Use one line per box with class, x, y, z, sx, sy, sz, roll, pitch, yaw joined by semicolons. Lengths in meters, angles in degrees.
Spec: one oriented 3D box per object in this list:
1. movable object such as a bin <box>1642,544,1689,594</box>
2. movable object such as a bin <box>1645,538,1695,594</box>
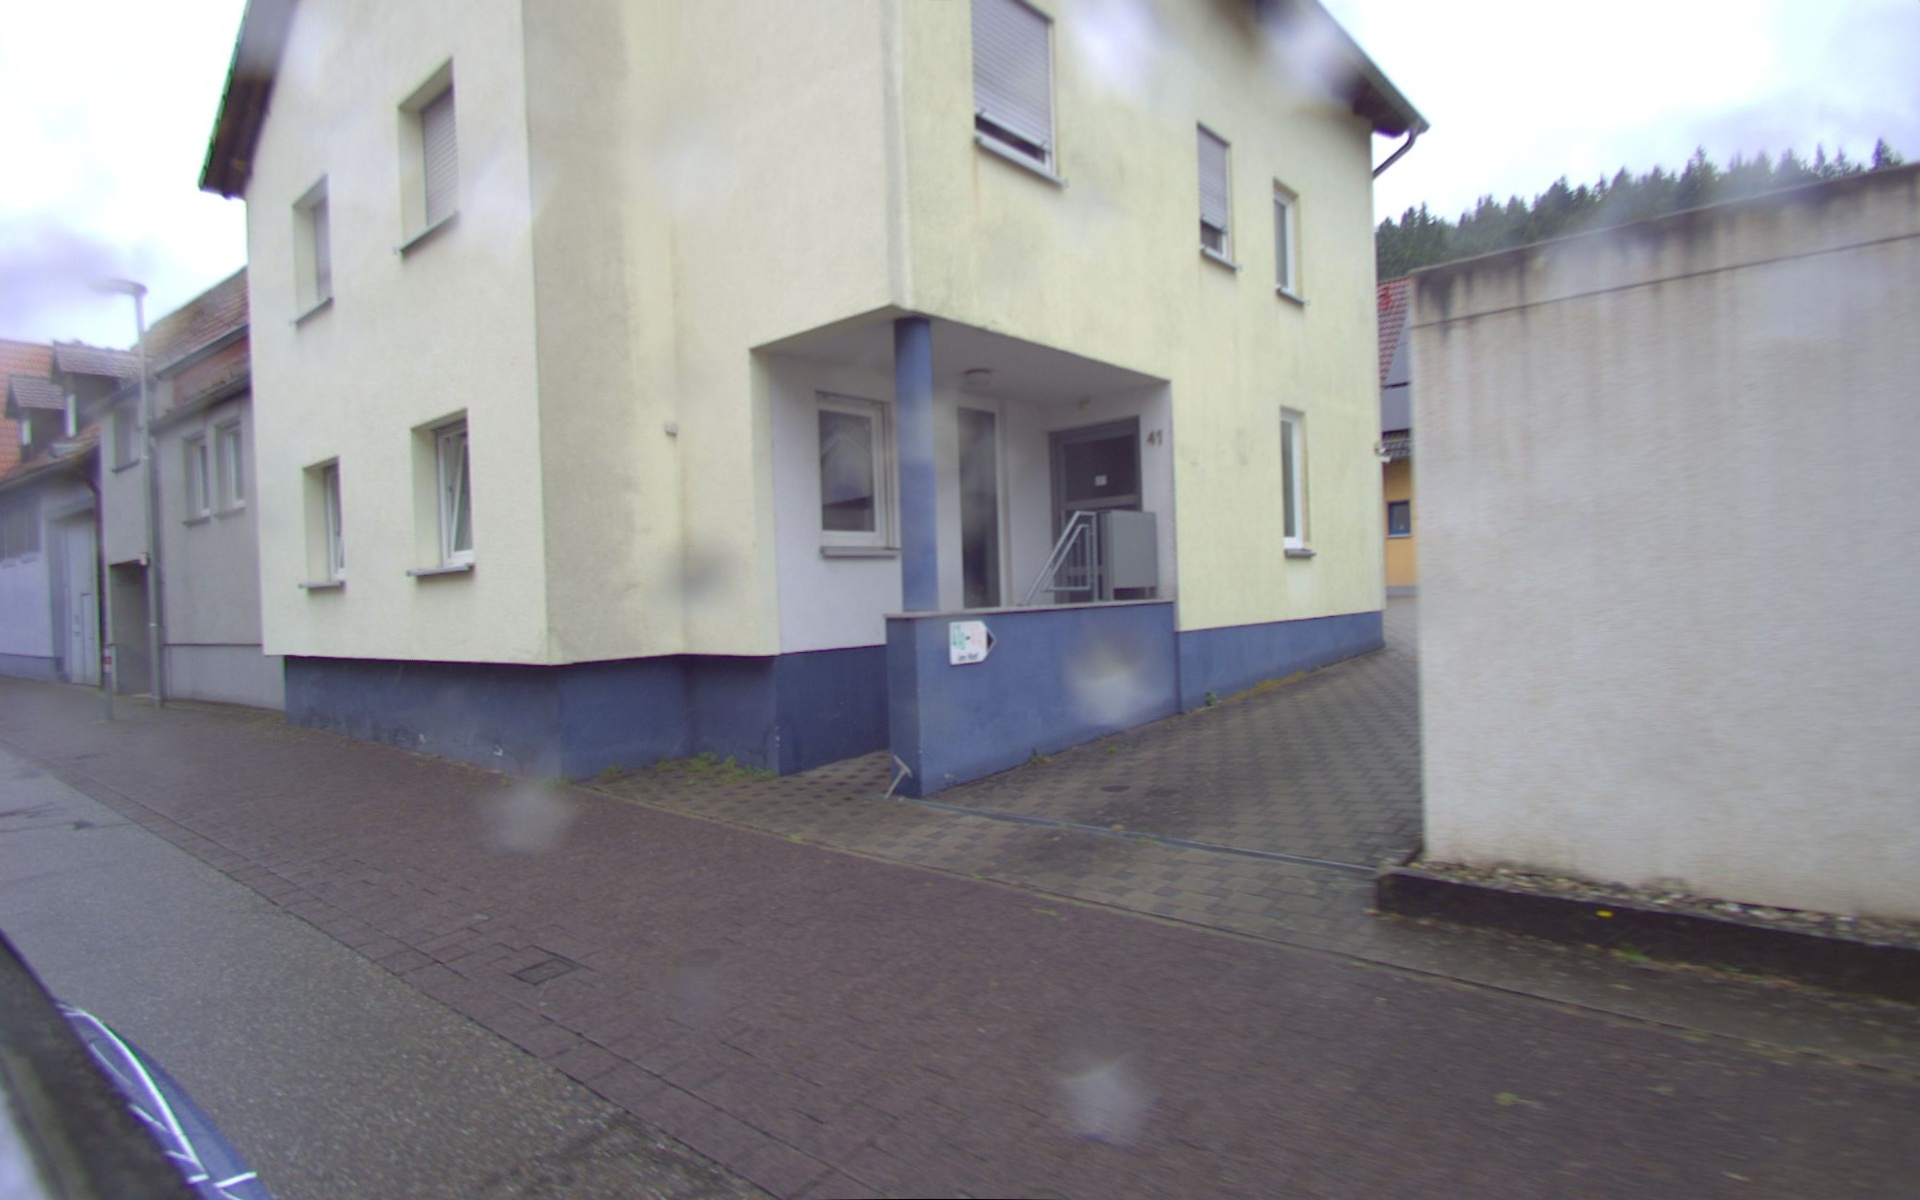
movable object such as a bin;13.828;-0.607;19.832;0.689;0.939;0.605;-2;-1;41
movable object such as a bin;14.375;-0.678;20.495;0.756;1.081;0.604;-2;-1;41
